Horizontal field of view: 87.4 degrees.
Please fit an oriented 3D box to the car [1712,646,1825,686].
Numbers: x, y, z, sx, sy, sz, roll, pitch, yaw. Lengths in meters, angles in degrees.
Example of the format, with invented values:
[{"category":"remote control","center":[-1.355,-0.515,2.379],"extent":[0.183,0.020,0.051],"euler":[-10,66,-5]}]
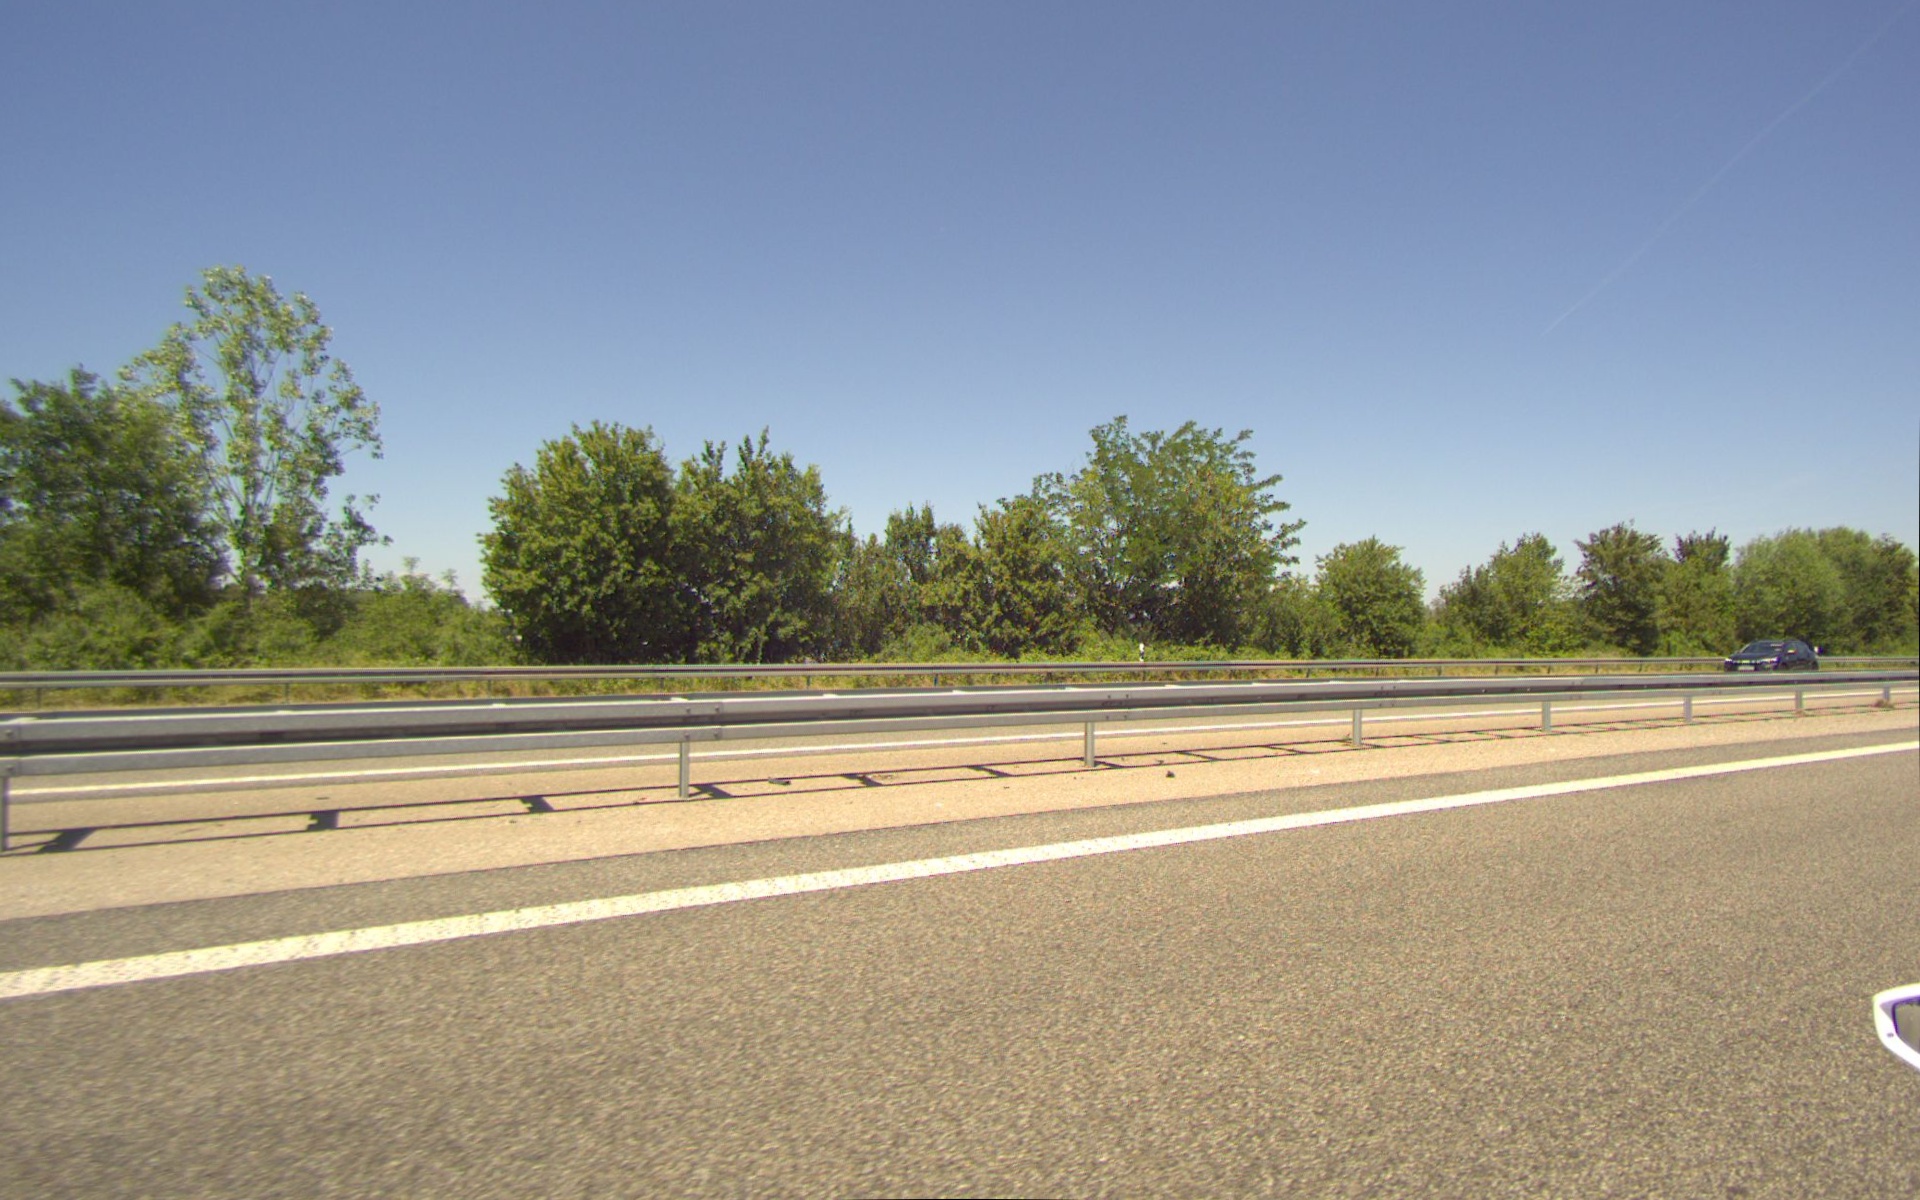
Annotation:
[{"category":"car","center":[30.278,2.432,37.597],"extent":[4.479,1.420,1.854],"euler":[1,-3,-31]}]
